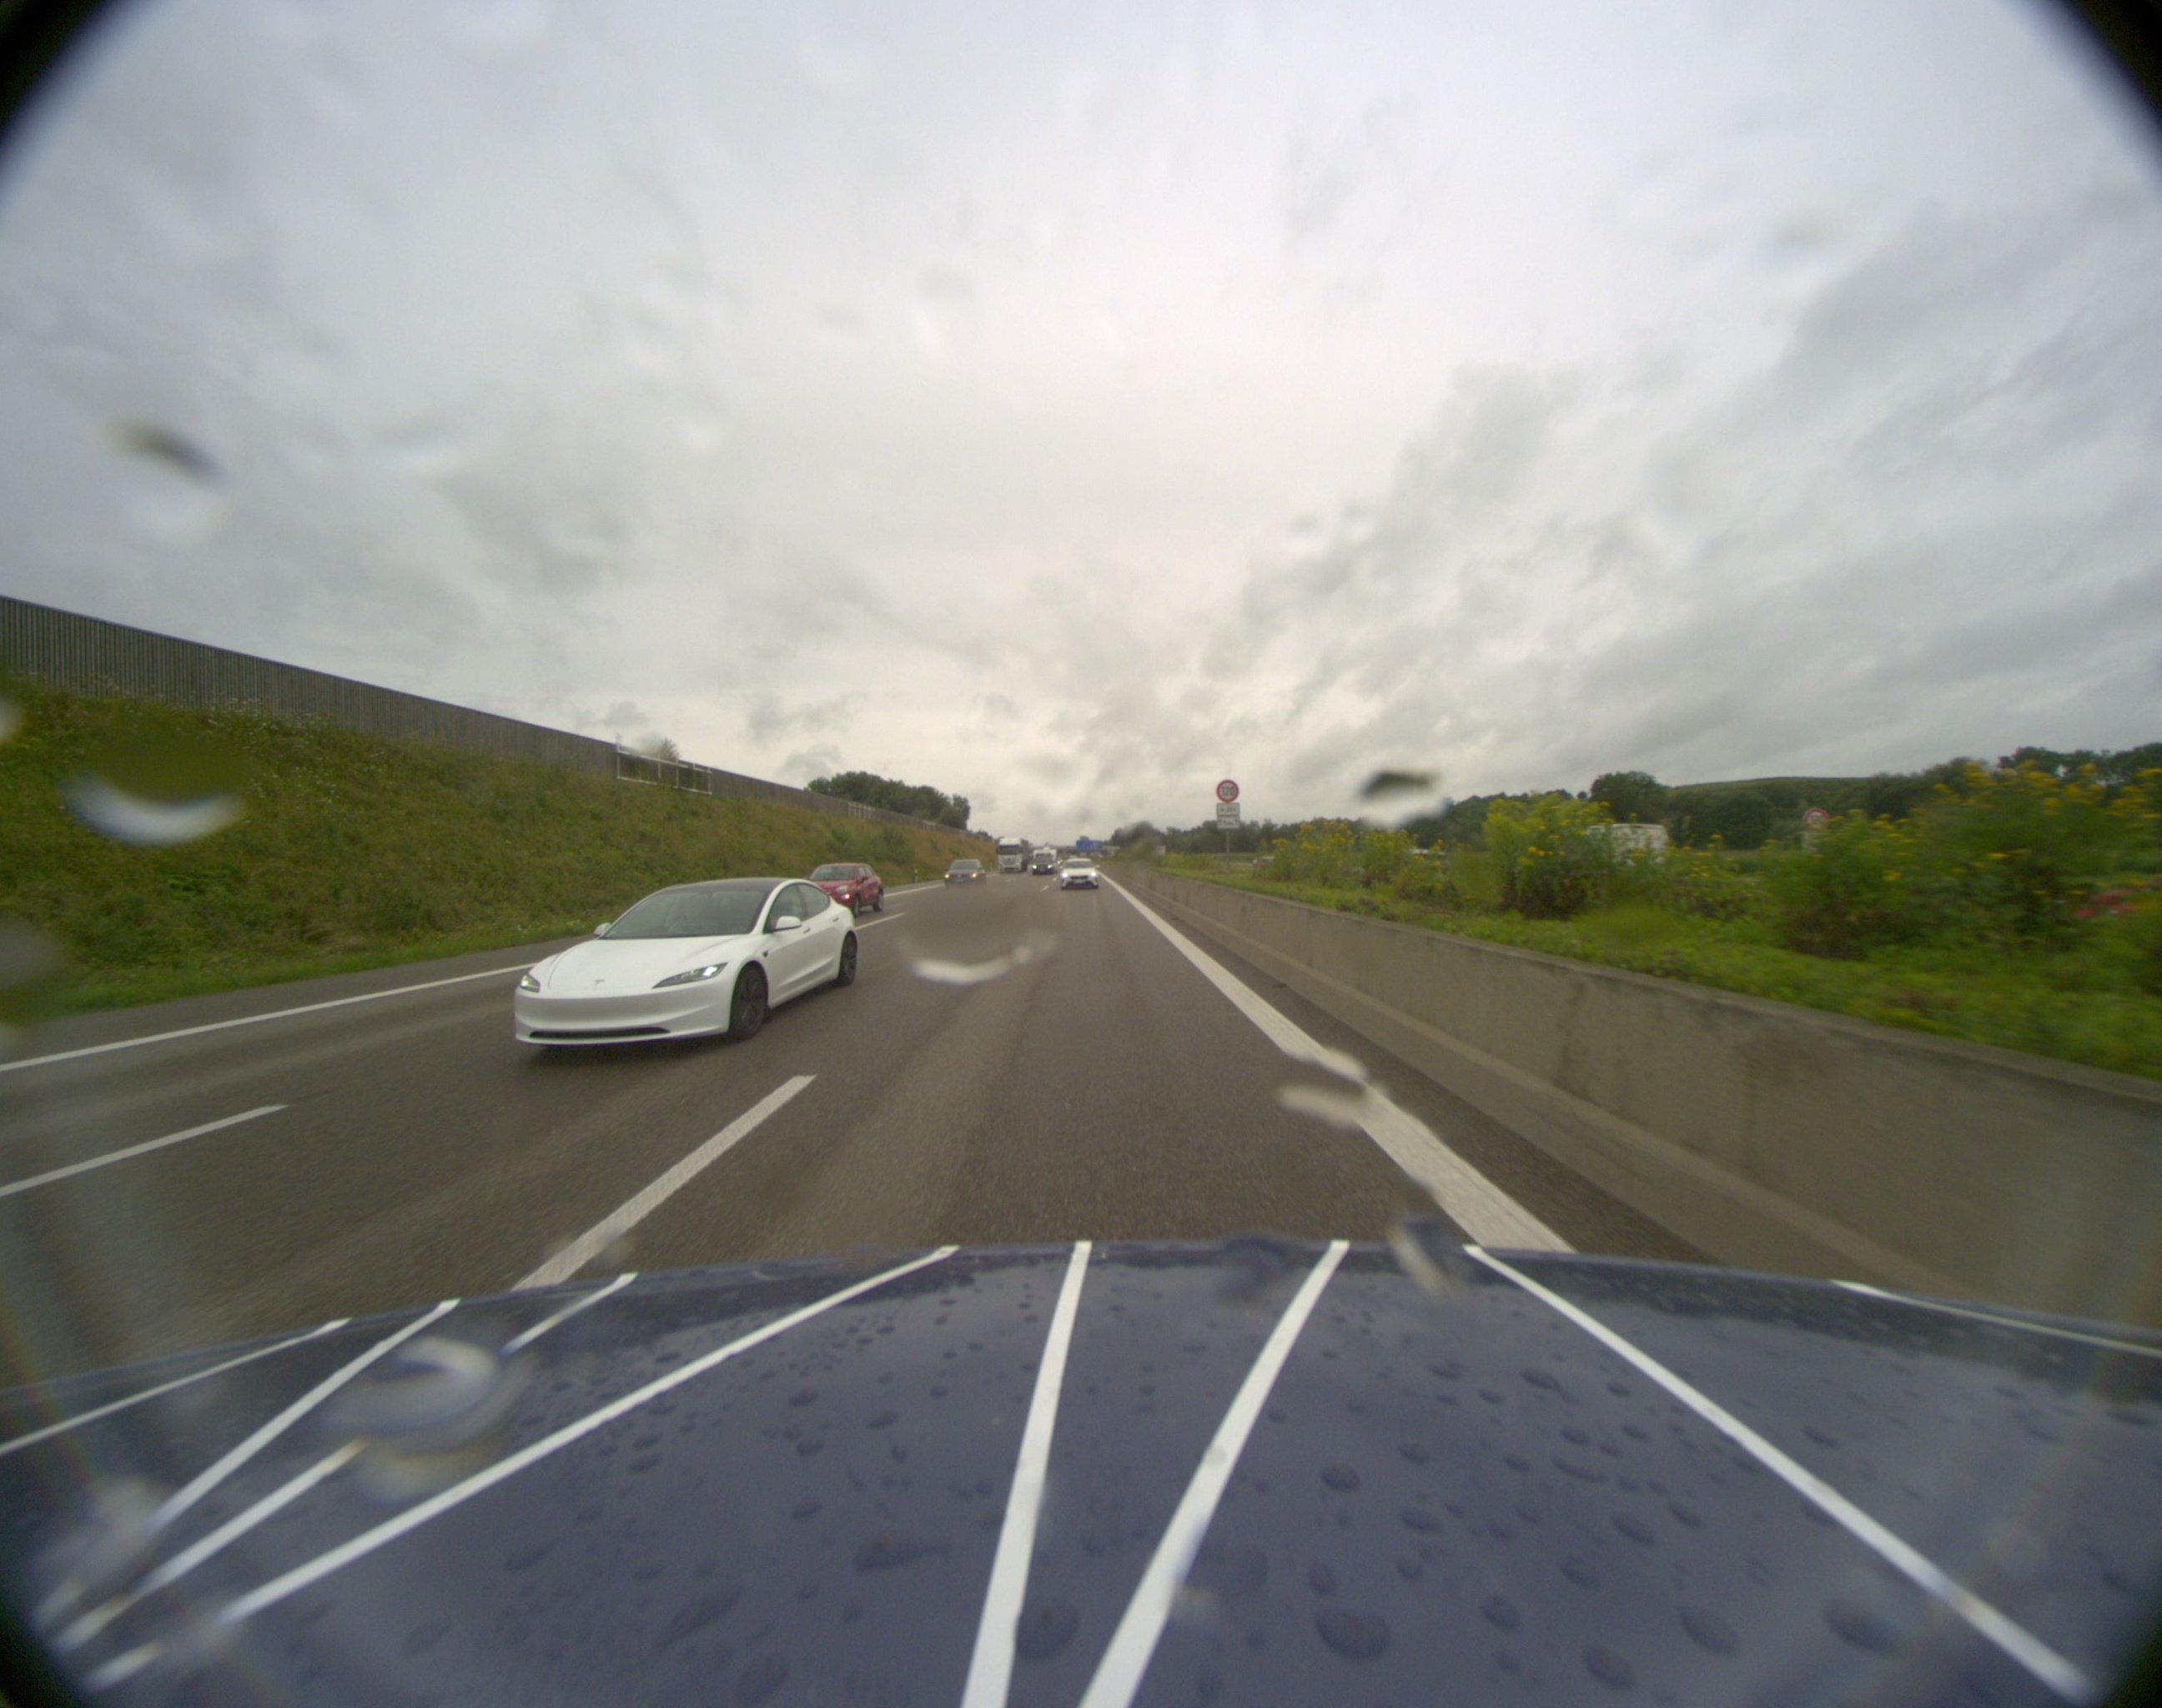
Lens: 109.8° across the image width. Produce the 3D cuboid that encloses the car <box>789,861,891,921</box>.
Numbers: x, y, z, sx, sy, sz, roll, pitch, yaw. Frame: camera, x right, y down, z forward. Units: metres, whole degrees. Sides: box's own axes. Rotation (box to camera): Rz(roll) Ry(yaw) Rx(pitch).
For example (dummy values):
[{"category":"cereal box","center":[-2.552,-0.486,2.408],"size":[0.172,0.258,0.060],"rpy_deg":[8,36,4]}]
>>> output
[{"category":"car","center":[-7.235,1.063,23.259],"size":[1.878,1.526,3.999],"rpy_deg":[-2,1,-1]}]

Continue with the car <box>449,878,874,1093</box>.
[{"category":"car","center":[-3.836,1.081,8.184],"size":[1.878,1.355,4.812],"rpy_deg":[-2,1,0]}]

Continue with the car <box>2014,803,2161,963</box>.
[{"category":"car","center":[13.131,0.300,7.935],"size":[1.864,1.809,4.000],"rpy_deg":[-2,0,1]}]

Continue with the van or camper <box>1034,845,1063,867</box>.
[{"category":"van or camper","center":[-3.319,0.145,78.239],"size":[2.432,2.139,6.498],"rpy_deg":[-2,1,2]}]

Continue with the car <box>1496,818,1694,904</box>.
[{"category":"car","center":[17.521,0.173,26.565],"size":[2.251,2.515,6.905],"rpy_deg":[-2,1,1]}]

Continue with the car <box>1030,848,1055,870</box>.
[{"category":"car","center":[-3.634,0.434,72.836],"size":[1.998,2.002,4.937],"rpy_deg":[-2,1,1]}]

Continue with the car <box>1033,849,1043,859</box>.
[{"category":"car","center":[-9.577,-0.013,170.229],"size":[1.999,2.002,4.262],"rpy_deg":[-1,0,-1]}]

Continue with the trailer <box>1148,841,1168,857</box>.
[{"category":"trailer","center":[17.035,-1.147,168.709],"size":[2.922,3.409,13.239],"rpy_deg":[-2,1,-1]}]

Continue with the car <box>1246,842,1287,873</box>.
[{"category":"car","center":[12.973,0.246,53.339],"size":[1.822,2.002,4.000],"rpy_deg":[-2,0,1]}]

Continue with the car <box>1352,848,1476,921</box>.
[{"category":"car","center":[9.347,0.791,21.692],"size":[1.824,1.827,3.899],"rpy_deg":[-2,0,1]}]

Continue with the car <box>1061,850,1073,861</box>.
[{"category":"car","center":[-2.250,0.189,123.097],"size":[1.999,1.759,3.999],"rpy_deg":[-1,0,-1]}]

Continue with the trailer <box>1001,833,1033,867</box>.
[{"category":"trailer","center":[-8.062,-0.547,97.557],"size":[3.090,4.003,15.218],"rpy_deg":[-2,1,-1]}]

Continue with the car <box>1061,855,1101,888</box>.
[{"category":"car","center":[0.020,0.839,37.941],"size":[1.841,1.455,4.000],"rpy_deg":[-2,1,1]}]

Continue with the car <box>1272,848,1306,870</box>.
[{"category":"car","center":[17.111,0.395,62.656],"size":[1.804,1.764,3.860],"rpy_deg":[0,0,0]}]

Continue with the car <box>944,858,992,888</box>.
[{"category":"car","center":[-6.358,1.057,43.248],"size":[1.929,1.480,4.485],"rpy_deg":[-2,1,1]}]

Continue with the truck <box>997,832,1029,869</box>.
[{"category":"truck","center":[-7.889,-0.458,88.765],"size":[3.090,4.003,6.955],"rpy_deg":[-2,1,-1]}]
